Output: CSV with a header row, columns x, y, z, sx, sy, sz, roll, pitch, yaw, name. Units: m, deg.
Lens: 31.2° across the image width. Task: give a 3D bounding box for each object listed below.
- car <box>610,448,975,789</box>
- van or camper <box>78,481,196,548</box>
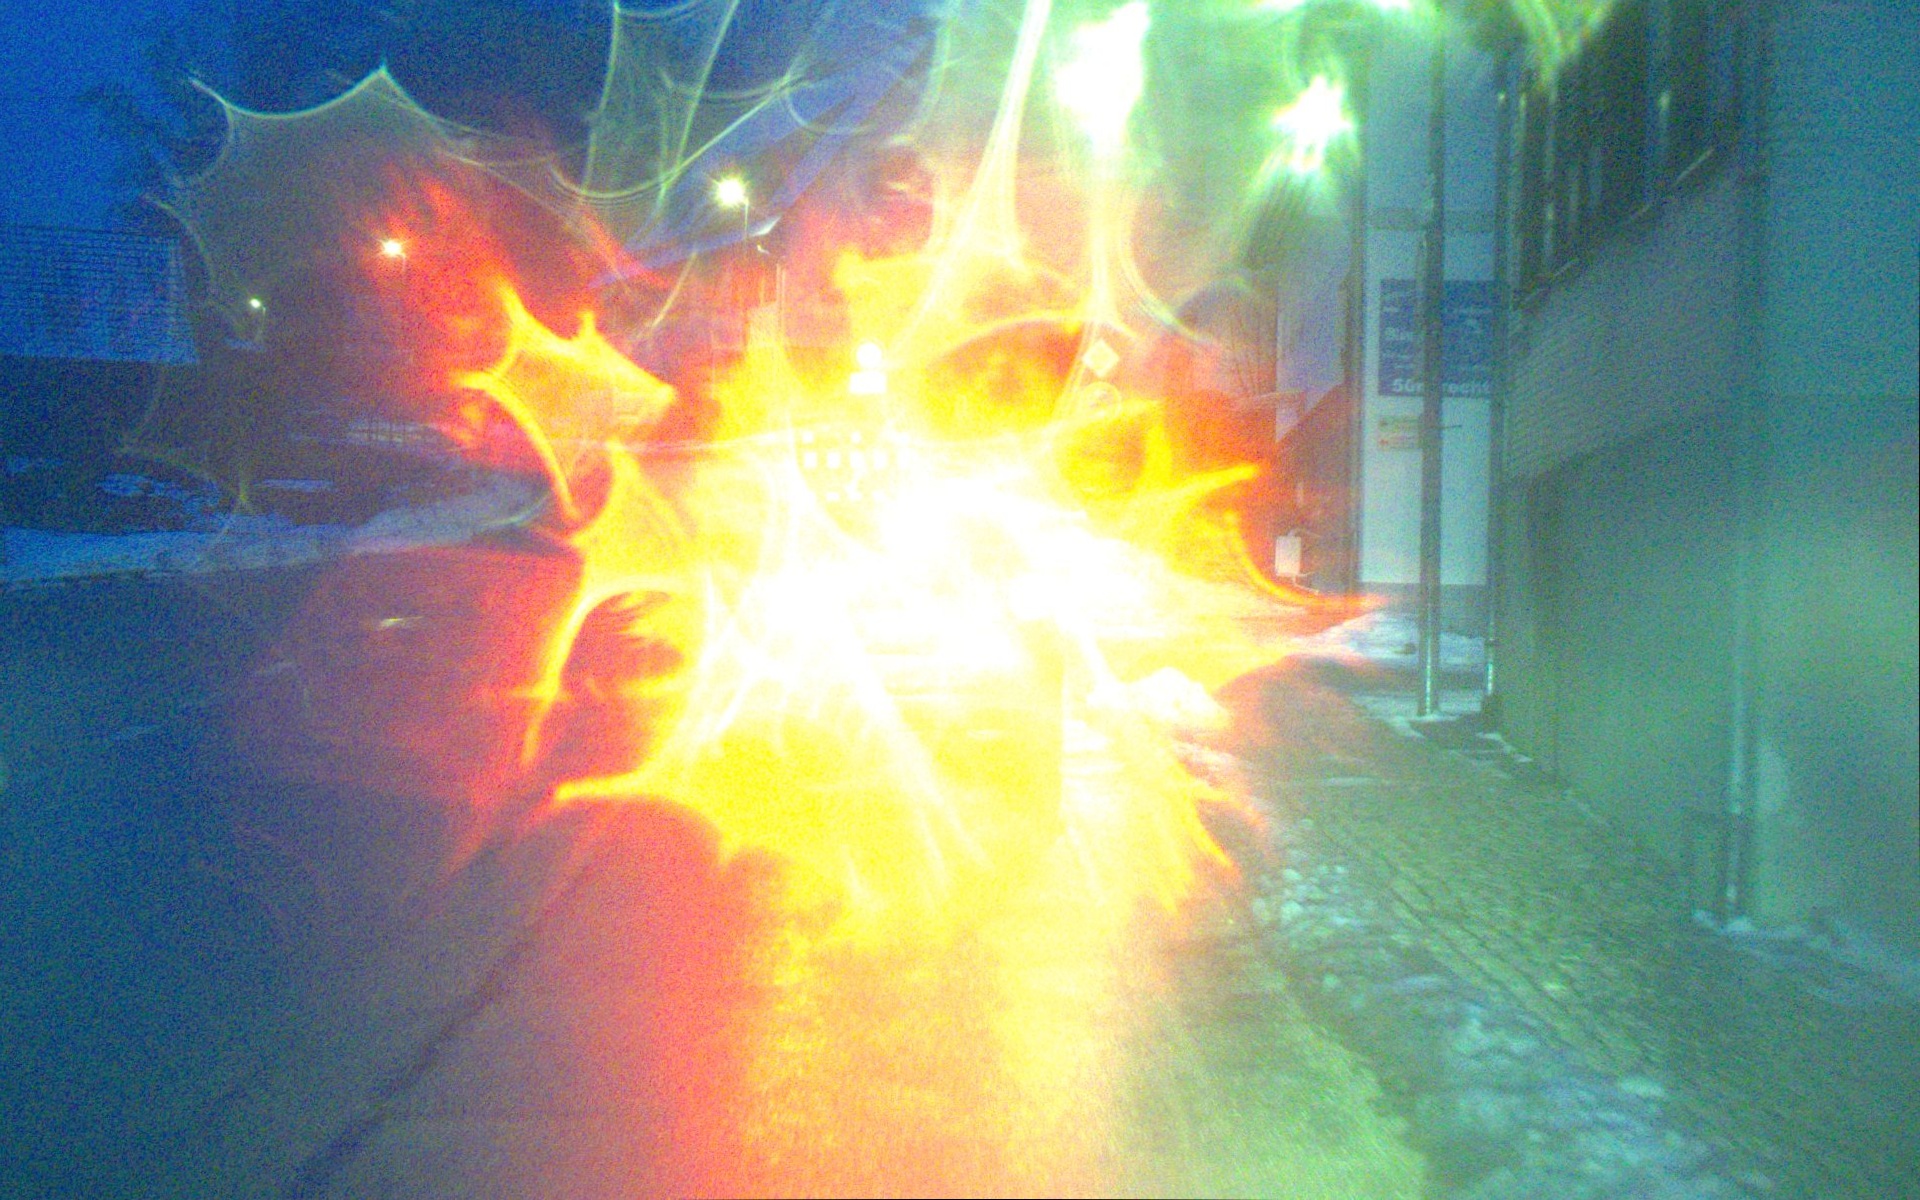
x,y,z,sx,sy,sz,roll,pitch,yaw,name
-0.879,0.028,20.023,1.822,1.790,3.578,-1,2,2,car
-14.521,-1.492,60.563,1.282,1.097,3.273,1,0,-27,van or camper
